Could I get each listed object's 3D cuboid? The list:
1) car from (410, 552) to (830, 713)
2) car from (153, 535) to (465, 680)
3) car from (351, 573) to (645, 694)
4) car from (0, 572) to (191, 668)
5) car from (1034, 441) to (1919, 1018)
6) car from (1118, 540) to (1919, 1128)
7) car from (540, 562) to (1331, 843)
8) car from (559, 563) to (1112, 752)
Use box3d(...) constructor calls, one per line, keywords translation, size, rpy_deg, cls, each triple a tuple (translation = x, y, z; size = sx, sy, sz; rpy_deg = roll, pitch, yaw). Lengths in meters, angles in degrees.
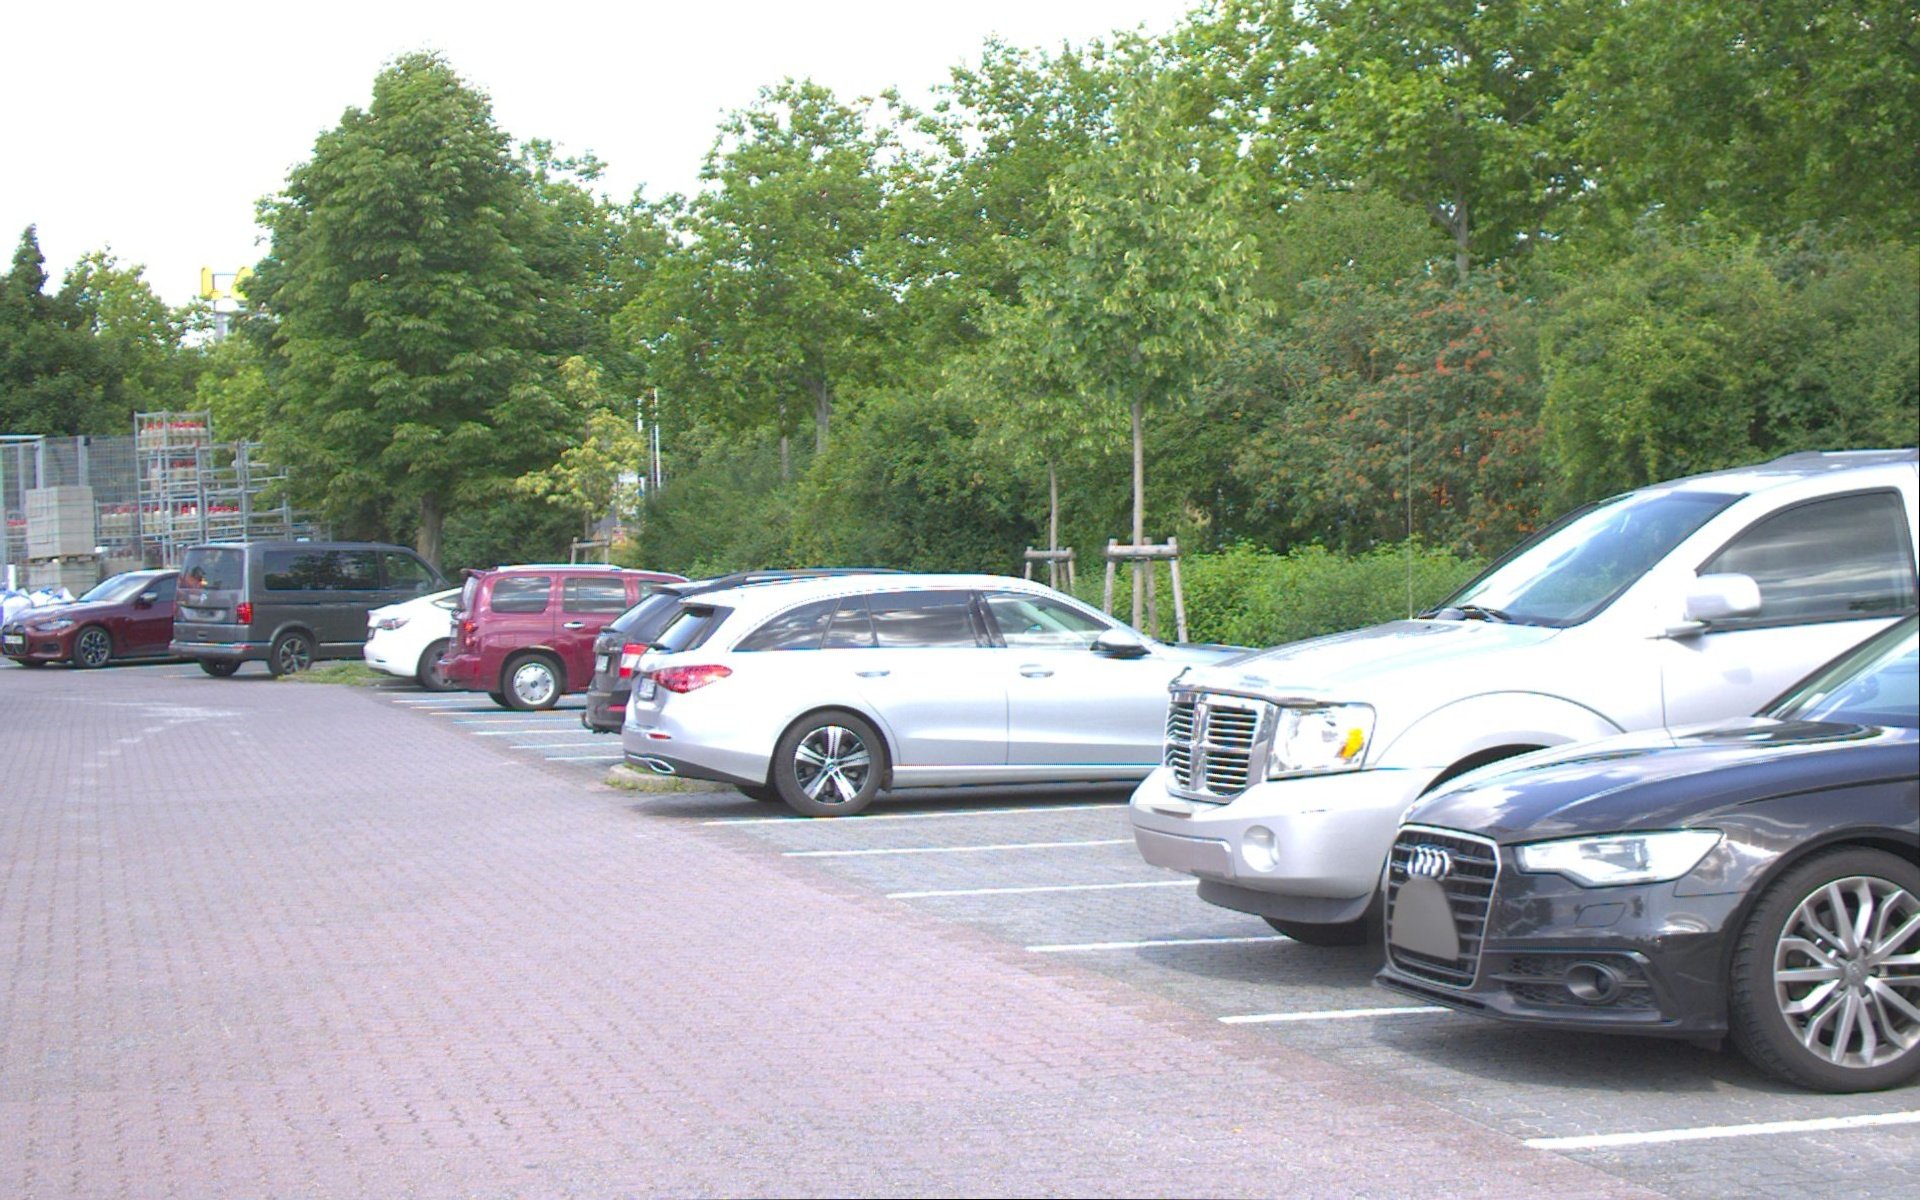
box3d(translation=(-3.802, 0.328, 38.207), size=(4.305, 1.590, 2.001), rpy_deg=(-2, 1, -16), cls="car")
box3d(translation=(-9.456, 0.111, 50.131), size=(4.046, 2.012, 1.946), rpy_deg=(0, -1, -44), cls="car")
box3d(translation=(-6.112, 0.437, 45.372), size=(3.631, 1.463, 1.634), rpy_deg=(-2, -1, -14), cls="car")
box3d(translation=(-13.391, 0.320, 52.959), size=(2.682, 1.427, 1.354), rpy_deg=(1, -2, -41), cls="car")
box3d(translation=(3.049, 0.356, 12.935), size=(5.129, 1.836, 1.991), rpy_deg=(-2, 1, -15), cls="car")
box3d(translation=(3.011, 0.548, 10.297), size=(4.708, 1.446, 1.840), rpy_deg=(-2, 1, -13), cls="car")
box3d(translation=(-0.186, 0.584, 21.639), size=(4.638, 1.499, 1.785), rpy_deg=(-2, 1, -15), cls="car")
box3d(translation=(-0.992, 0.441, 26.687), size=(3.986, 1.376, 1.699), rpy_deg=(0, -1, -15), cls="car")
